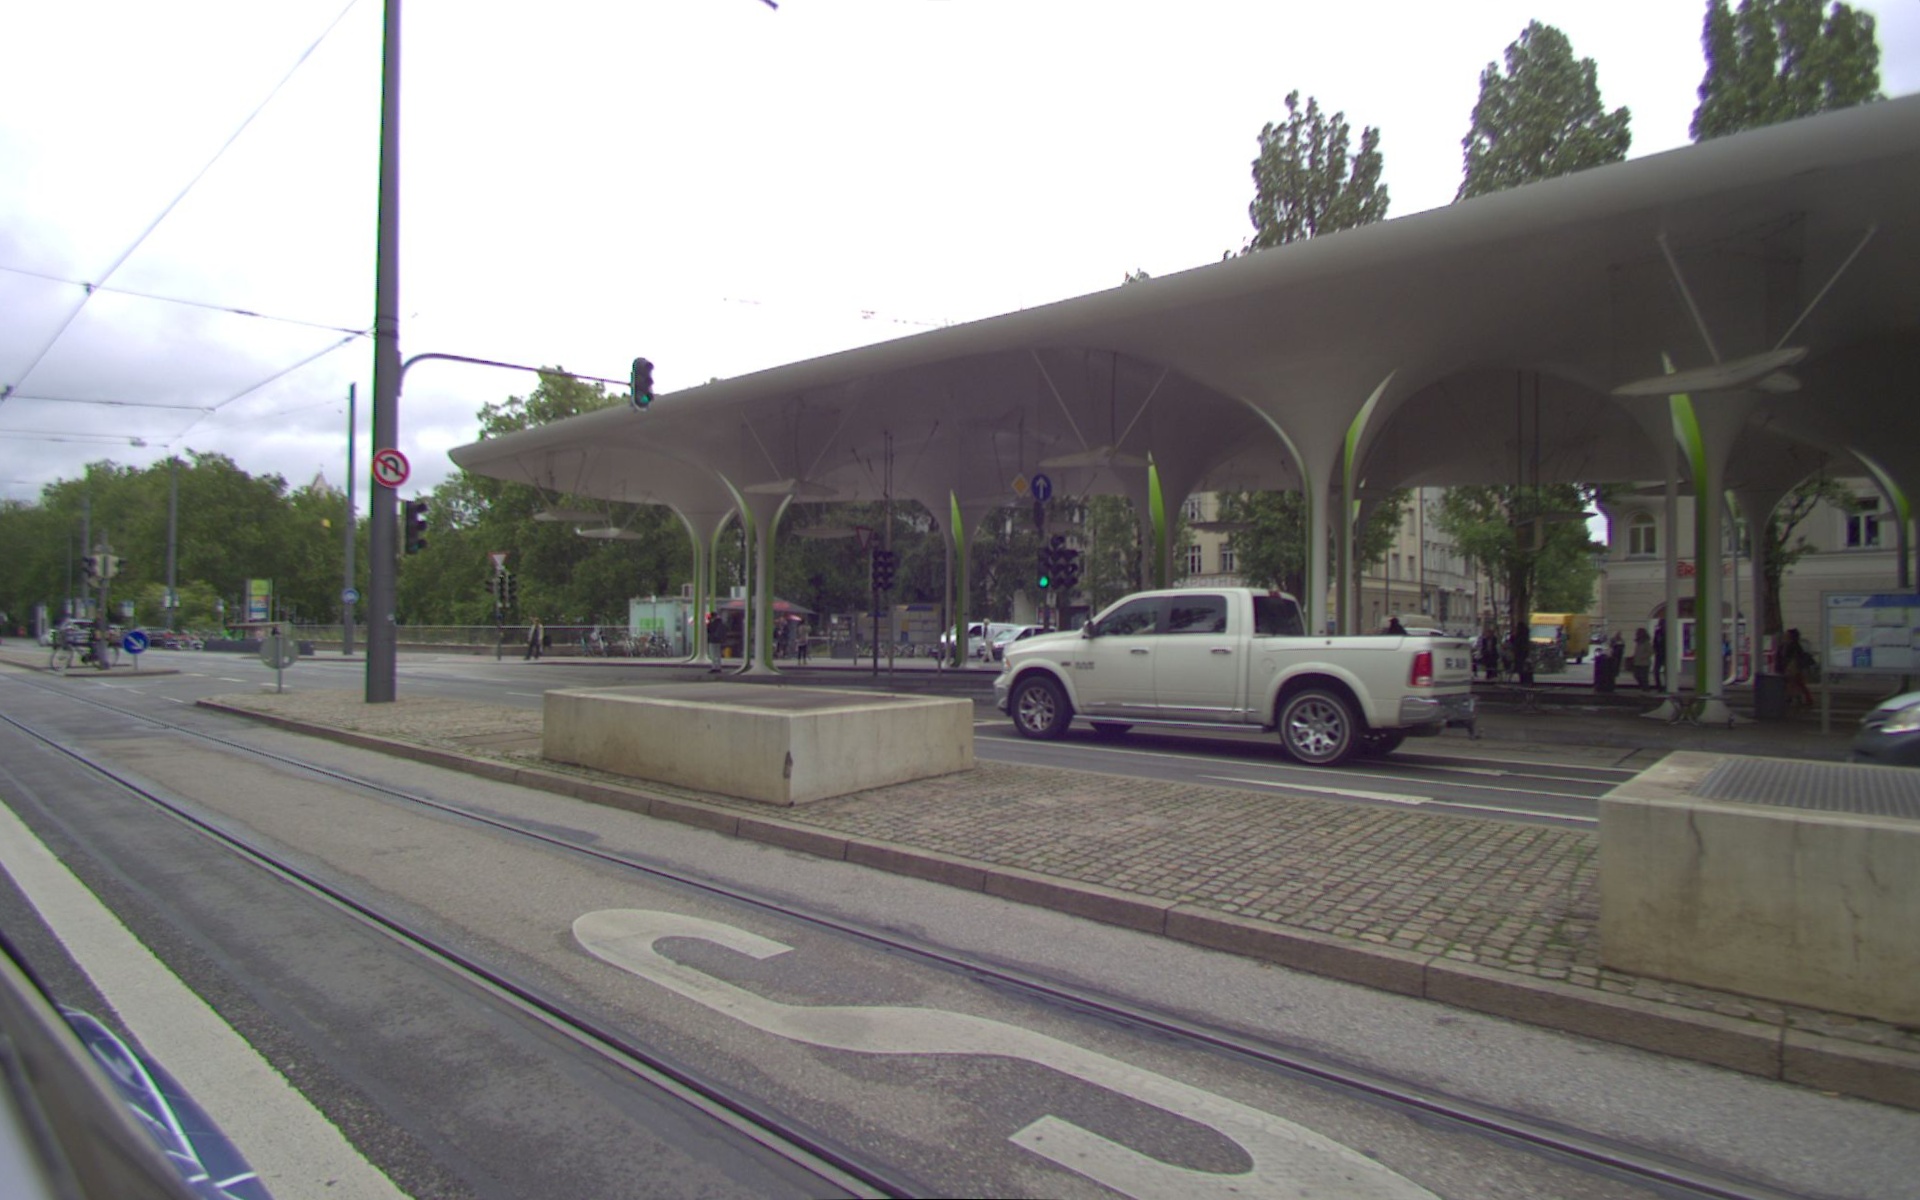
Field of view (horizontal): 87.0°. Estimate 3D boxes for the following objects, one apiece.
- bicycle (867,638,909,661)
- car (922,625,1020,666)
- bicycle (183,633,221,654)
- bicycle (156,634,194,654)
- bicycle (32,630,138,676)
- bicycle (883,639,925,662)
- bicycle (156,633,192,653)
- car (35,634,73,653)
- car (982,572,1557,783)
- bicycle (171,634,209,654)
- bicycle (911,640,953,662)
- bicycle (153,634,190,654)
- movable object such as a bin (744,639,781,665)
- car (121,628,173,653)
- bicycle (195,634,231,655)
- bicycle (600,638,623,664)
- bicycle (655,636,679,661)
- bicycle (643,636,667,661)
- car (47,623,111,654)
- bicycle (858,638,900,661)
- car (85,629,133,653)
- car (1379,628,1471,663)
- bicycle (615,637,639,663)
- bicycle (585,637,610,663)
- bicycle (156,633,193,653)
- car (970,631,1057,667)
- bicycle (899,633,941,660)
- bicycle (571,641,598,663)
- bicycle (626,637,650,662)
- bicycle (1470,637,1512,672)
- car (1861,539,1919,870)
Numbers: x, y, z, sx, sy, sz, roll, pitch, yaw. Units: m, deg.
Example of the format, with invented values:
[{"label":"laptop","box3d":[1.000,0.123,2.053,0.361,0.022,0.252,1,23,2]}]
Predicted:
[{"label":"bicycle","box3d":[-3.775,2.561,52.791,2.523,1.138,0.635,-1,-2,42]},{"label":"car","box3d":[0.584,2.229,50.600,4.851,1.962,1.874,2,-2,-38]},{"label":"bicycle","box3d":[-43.999,2.532,58.782,0.560,1.181,1.675,-1,-2,31]},{"label":"bicycle","box3d":[-46.669,2.597,60.149,0.560,1.181,1.675,-1,-2,31]},{"label":"bicycle","box3d":[-24.170,1.435,28.007,0.503,1.159,2.214,0,0,23]},{"label":"bicycle","box3d":[-2.969,2.656,53.515,2.523,1.138,0.635,-1,-2,42]},{"label":"bicycle","box3d":[-48.219,2.647,62.095,0.561,1.181,1.672,-2,-2,38]},{"label":"car","box3d":[-76.005,3.595,84.875,3.998,1.542,1.868,-2,-3,41]},{"label":"car","box3d":[3.340,0.798,11.956,6.150,1.902,2.153,-1,-3,40]},{"label":"bicycle","box3d":[-45.102,2.559,59.283,0.560,1.181,1.675,-1,-2,31]},{"label":"bicycle","box3d":[-1.546,2.769,54.904,2.523,1.138,0.635,-1,-2,42]},{"label":"bicycle","box3d":[-47.129,2.608,60.510,0.504,1.181,1.674,-1,-2,33]},{"label":"movable object such as a bin","box3d":[-8.737,2.286,44.785,0.957,1.092,1.319,-1,-2,41]},{"label":"car","box3d":[-52.256,2.609,65.022,4.230,1.537,1.840,-2,-3,41]},{"label":"bicycle","box3d":[-42.107,2.486,57.092,0.556,1.181,1.687,0,-2,11]},{"label":"bicycle","box3d":[-15.414,2.237,44.746,0.472,1.104,1.854,1,-2,-35]},{"label":"bicycle","box3d":[-13.373,2.187,46.228,0.472,1.104,1.854,1,-2,-35]},{"label":"bicycle","box3d":[-13.870,2.199,45.936,0.472,1.104,1.854,1,-2,-35]},{"label":"car","box3d":[-48.197,2.098,55.366,4.674,1.651,1.844,-1,-4,40]},{"label":"bicycle","box3d":[-4.198,2.546,52.272,2.523,1.138,0.635,-1,-2,42]},{"label":"car","box3d":[-60.084,2.872,71.431,4.099,1.582,1.973,-2,-2,41]},{"label":"car","box3d":[27.455,2.657,59.816,4.784,1.934,1.980,-1,-2,30]},{"label":"bicycle","box3d":[-14.886,2.224,45.196,0.472,1.104,1.854,1,-2,-35]},{"label":"bicycle","box3d":[-15.907,2.162,44.351,0.472,1.104,1.853,1,-2,-38]},{"label":"bicycle","box3d":[-47.848,2.626,61.647,0.505,1.181,1.672,-2,-2,37]},{"label":"car","box3d":[2.570,2.286,47.854,3.937,1.628,1.834,1,-2,-41]},{"label":"bicycle","box3d":[-2.160,2.479,54.571,2.562,1.432,0.627,-1,-2,42]},{"label":"bicycle","box3d":[-16.340,2.244,44.015,0.473,0.901,1.852,2,-2,-41]},{"label":"bicycle","box3d":[-14.485,2.214,45.525,0.472,1.104,1.854,1,-2,-35]},{"label":"bicycle","box3d":[25.965,2.635,49.440,1.000,1.625,3.576,-1,-2,41]},{"label":"car","box3d":[7.527,0.594,5.182,4.213,1.869,1.768,-1,-3,39]}]
